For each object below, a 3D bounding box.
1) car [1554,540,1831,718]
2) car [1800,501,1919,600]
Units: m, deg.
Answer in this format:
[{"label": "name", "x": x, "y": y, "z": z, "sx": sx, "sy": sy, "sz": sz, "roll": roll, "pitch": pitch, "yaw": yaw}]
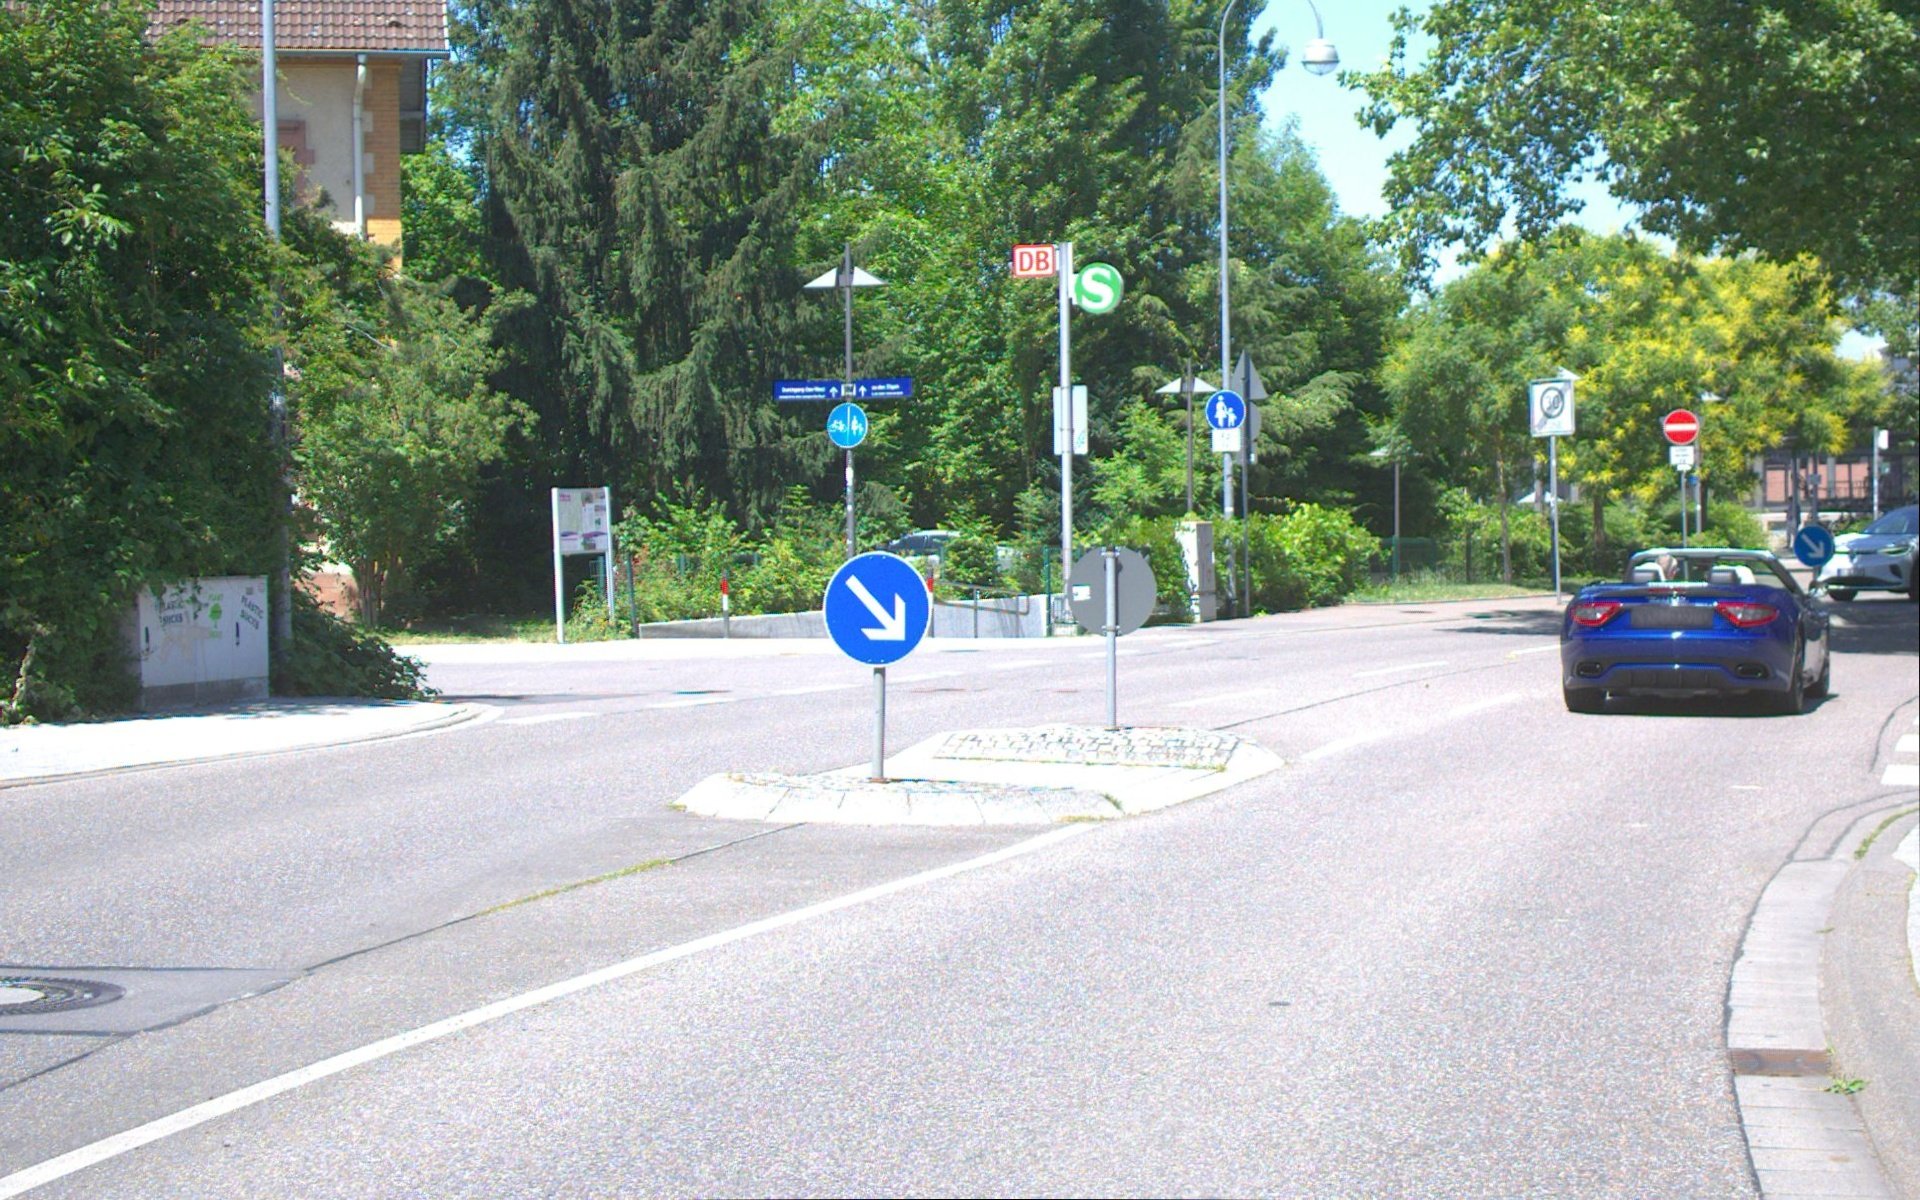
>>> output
[{"label": "car", "x": 6.287, "y": 0.179, "z": 29.131, "sx": 1.828, "sy": 1.332, "sz": 4.696, "roll": 1, "pitch": 2, "yaw": 18}, {"label": "car", "x": 16.122, "y": -0.839, "z": 57.093, "sx": 4.460, "sy": 1.571, "sz": 1.825, "roll": -1, "pitch": 1, "yaw": -37}]
